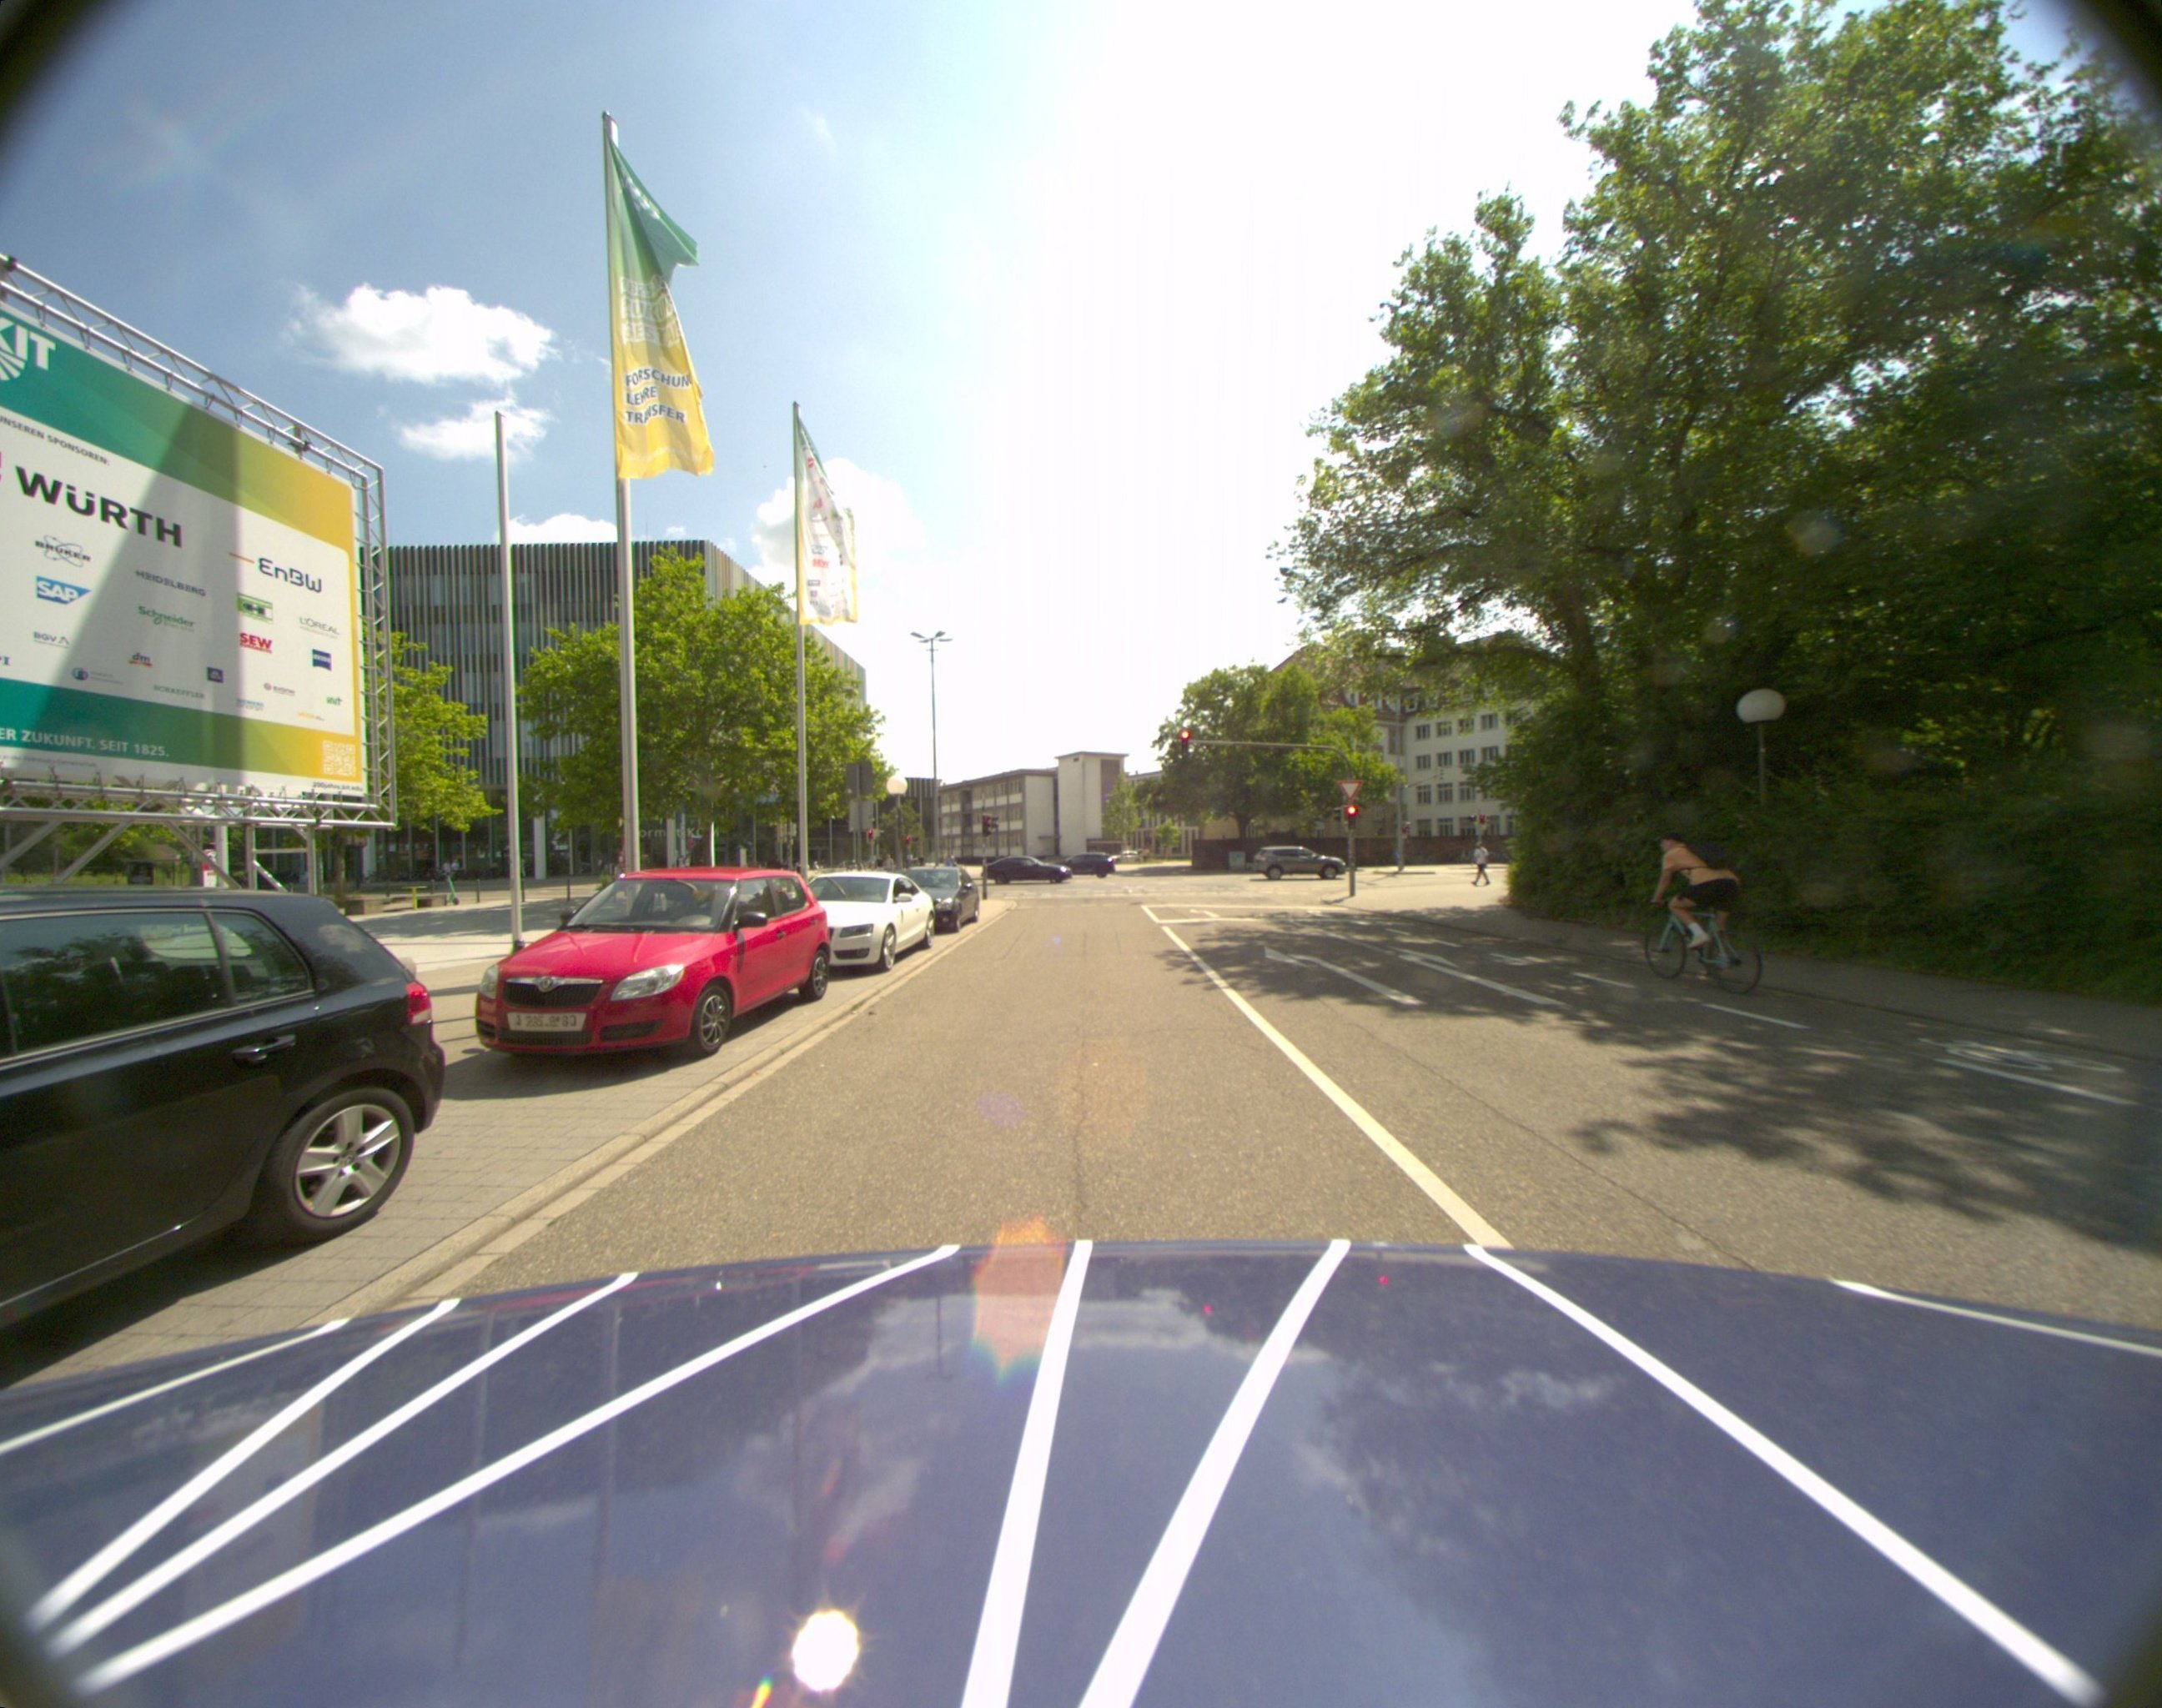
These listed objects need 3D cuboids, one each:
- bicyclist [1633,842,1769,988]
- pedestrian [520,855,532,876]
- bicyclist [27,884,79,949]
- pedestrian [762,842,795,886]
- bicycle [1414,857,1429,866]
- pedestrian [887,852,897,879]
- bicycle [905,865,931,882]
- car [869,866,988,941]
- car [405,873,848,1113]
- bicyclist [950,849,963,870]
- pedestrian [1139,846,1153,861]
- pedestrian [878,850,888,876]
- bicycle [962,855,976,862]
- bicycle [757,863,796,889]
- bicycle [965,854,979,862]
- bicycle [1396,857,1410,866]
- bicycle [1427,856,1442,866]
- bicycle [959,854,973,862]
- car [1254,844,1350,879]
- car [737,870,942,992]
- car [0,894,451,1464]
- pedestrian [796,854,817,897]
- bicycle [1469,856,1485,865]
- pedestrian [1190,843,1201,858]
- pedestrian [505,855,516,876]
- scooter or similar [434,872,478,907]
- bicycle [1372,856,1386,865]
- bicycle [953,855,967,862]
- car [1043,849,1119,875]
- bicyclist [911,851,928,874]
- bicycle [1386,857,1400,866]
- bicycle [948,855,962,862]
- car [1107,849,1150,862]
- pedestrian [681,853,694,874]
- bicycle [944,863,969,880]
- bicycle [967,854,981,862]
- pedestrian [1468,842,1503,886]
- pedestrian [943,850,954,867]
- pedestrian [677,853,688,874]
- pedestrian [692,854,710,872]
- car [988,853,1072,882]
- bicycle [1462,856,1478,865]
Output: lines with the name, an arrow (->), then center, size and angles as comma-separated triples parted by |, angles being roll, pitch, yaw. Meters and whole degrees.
bicyclist -> 6.928, 0.642, 8.549 | 0.694, 1.539, 1.018 | -1, 1, 0
pedestrian -> -48.203, 1.018, 66.012 | 0.554, 1.831, 0.561 | -1, 2, -7
bicyclist -> -21.437, 1.286, 15.860 | 0.740, 1.312, 0.609 | -1, -1, 39
pedestrian -> -12.847, 0.431, 32.313 | 0.856, 1.808, 1.177 | 1, -3, 2
bicycle -> 26.226, 0.557, 58.545 | 0.409, 0.678, 1.005 | -2, 3, -24
pedestrian -> -13.350, 0.799, 53.556 | 0.575, 1.831, 0.415 | -1, 2, -4
bicycle -> -11.471, 1.339, 53.566 | 1.673, 1.118, 0.693 | -2, 1, -27
car -> -3.397, 1.045, 17.880 | 1.722, 1.392, 4.948 | 1, 0, 1
car -> -3.715, 0.991, 7.212 | 1.618, 1.488, 4.147 | 1, 0, 1
bicyclist -> -8.987, 0.378, 54.939 | 0.787, 1.529, 0.656 | -2, 1, -24
pedestrian -> 7.093, -0.030, 83.382 | 1.297, 1.641, 1.327 | -1, 1, 14
pedestrian -> -13.900, 0.629, 53.328 | 0.633, 1.831, 0.479 | -1, 2, -14
bicycle -> -14.981, 0.596, 101.500 | 1.776, 0.950, 0.528 | -1, 3, -27
bicycle -> -12.861, 0.958, 32.156 | 0.817, 1.066, 1.892 | 0, -3, 2
bicycle -> -14.317, 0.559, 100.119 | 1.776, 0.950, 0.528 | -1, 3, -27
bicycle -> 24.832, 0.574, 58.549 | 0.409, 0.678, 1.005 | -2, 3, -24
bicycle -> 27.400, 0.531, 58.841 | 0.409, 0.678, 1.005 | -2, 3, -24
bicycle -> -15.394, 0.562, 102.022 | 1.776, 0.950, 0.528 | -1, 3, -27
car -> 11.255, 0.388, 38.913 | 4.473, 1.669, 1.826 | -1, 1, 6
car -> -3.510, 1.033, 11.969 | 1.722, 1.392, 4.438 | 2, 0, 1
car -> -3.923, 0.971, 1.639 | 1.723, 1.520, 4.000 | -1, 0, 1
pedestrian -> -11.657, 0.903, 32.269 | 0.594, 1.789, 0.612 | -2, -2, 41
bicycle -> 30.723, 0.487, 58.892 | 0.409, 0.678, 1.004 | -3, 3, -37
pedestrian -> 13.515, -0.366, 89.566 | 0.867, 1.779, 0.841 | 0, 0, -31
pedestrian -> -49.809, 1.026, 66.348 | 0.554, 1.831, 0.561 | -1, 2, -7
scooter or similar -> -21.834, 1.242, 26.552 | 1.191, 1.159, 0.353 | -1, 3, 1
bicycle -> 22.803, 0.485, 58.202 | 0.409, 0.678, 1.005 | -2, 3, -24
bicycle -> -16.454, 0.589, 103.517 | 1.776, 0.950, 0.528 | -1, 3, -27
car -> 0.033, 0.498, 48.208 | 4.712, 1.520, 2.000 | -1, 0, 0
bicyclist -> -11.387, 0.603, 53.590 | 1.001, 1.606, 0.656 | -2, 1, -28
bicycle -> 23.956, 0.591, 58.403 | 0.409, 0.678, 1.005 | -2, 3, -24
bicycle -> -17.459, 0.610, 105.155 | 1.776, 0.950, 0.528 | -1, 3, -27
car -> 5.421, 0.198, 86.631 | 4.501, 1.299, 1.995 | -2, 3, -31
pedestrian -> -34.319, 0.844, 66.249 | 0.677, 1.831, 0.691 | -1, 2, 8
bicycle -> -8.992, 1.266, 54.955 | 1.673, 1.118, 0.694 | -2, 1, -24
bicycle -> -13.961, 0.552, 99.298 | 1.776, 0.950, 0.528 | -1, 3, -27
pedestrian -> 15.640, 0.393, 29.396 | 0.930, 1.690, 0.854 | -1, 0, 4
pedestrian -> -13.896, 0.450, 79.616 | 0.845, 1.779, 0.676 | -2, 1, -29
pedestrian -> -34.150, 0.820, 65.147 | 0.790, 1.831, 0.516 | -1, 1, -28
pedestrian -> -34.308, 0.799, 68.597 | 1.014, 1.641, 1.183 | -1, 1, 1
car -> -2.651, 0.709, 40.239 | 4.186, 1.407, 1.831 | -1, 0, 6
bicycle -> 30.058, 0.502, 58.700 | 0.409, 0.678, 1.004 | -3, 3, -37
